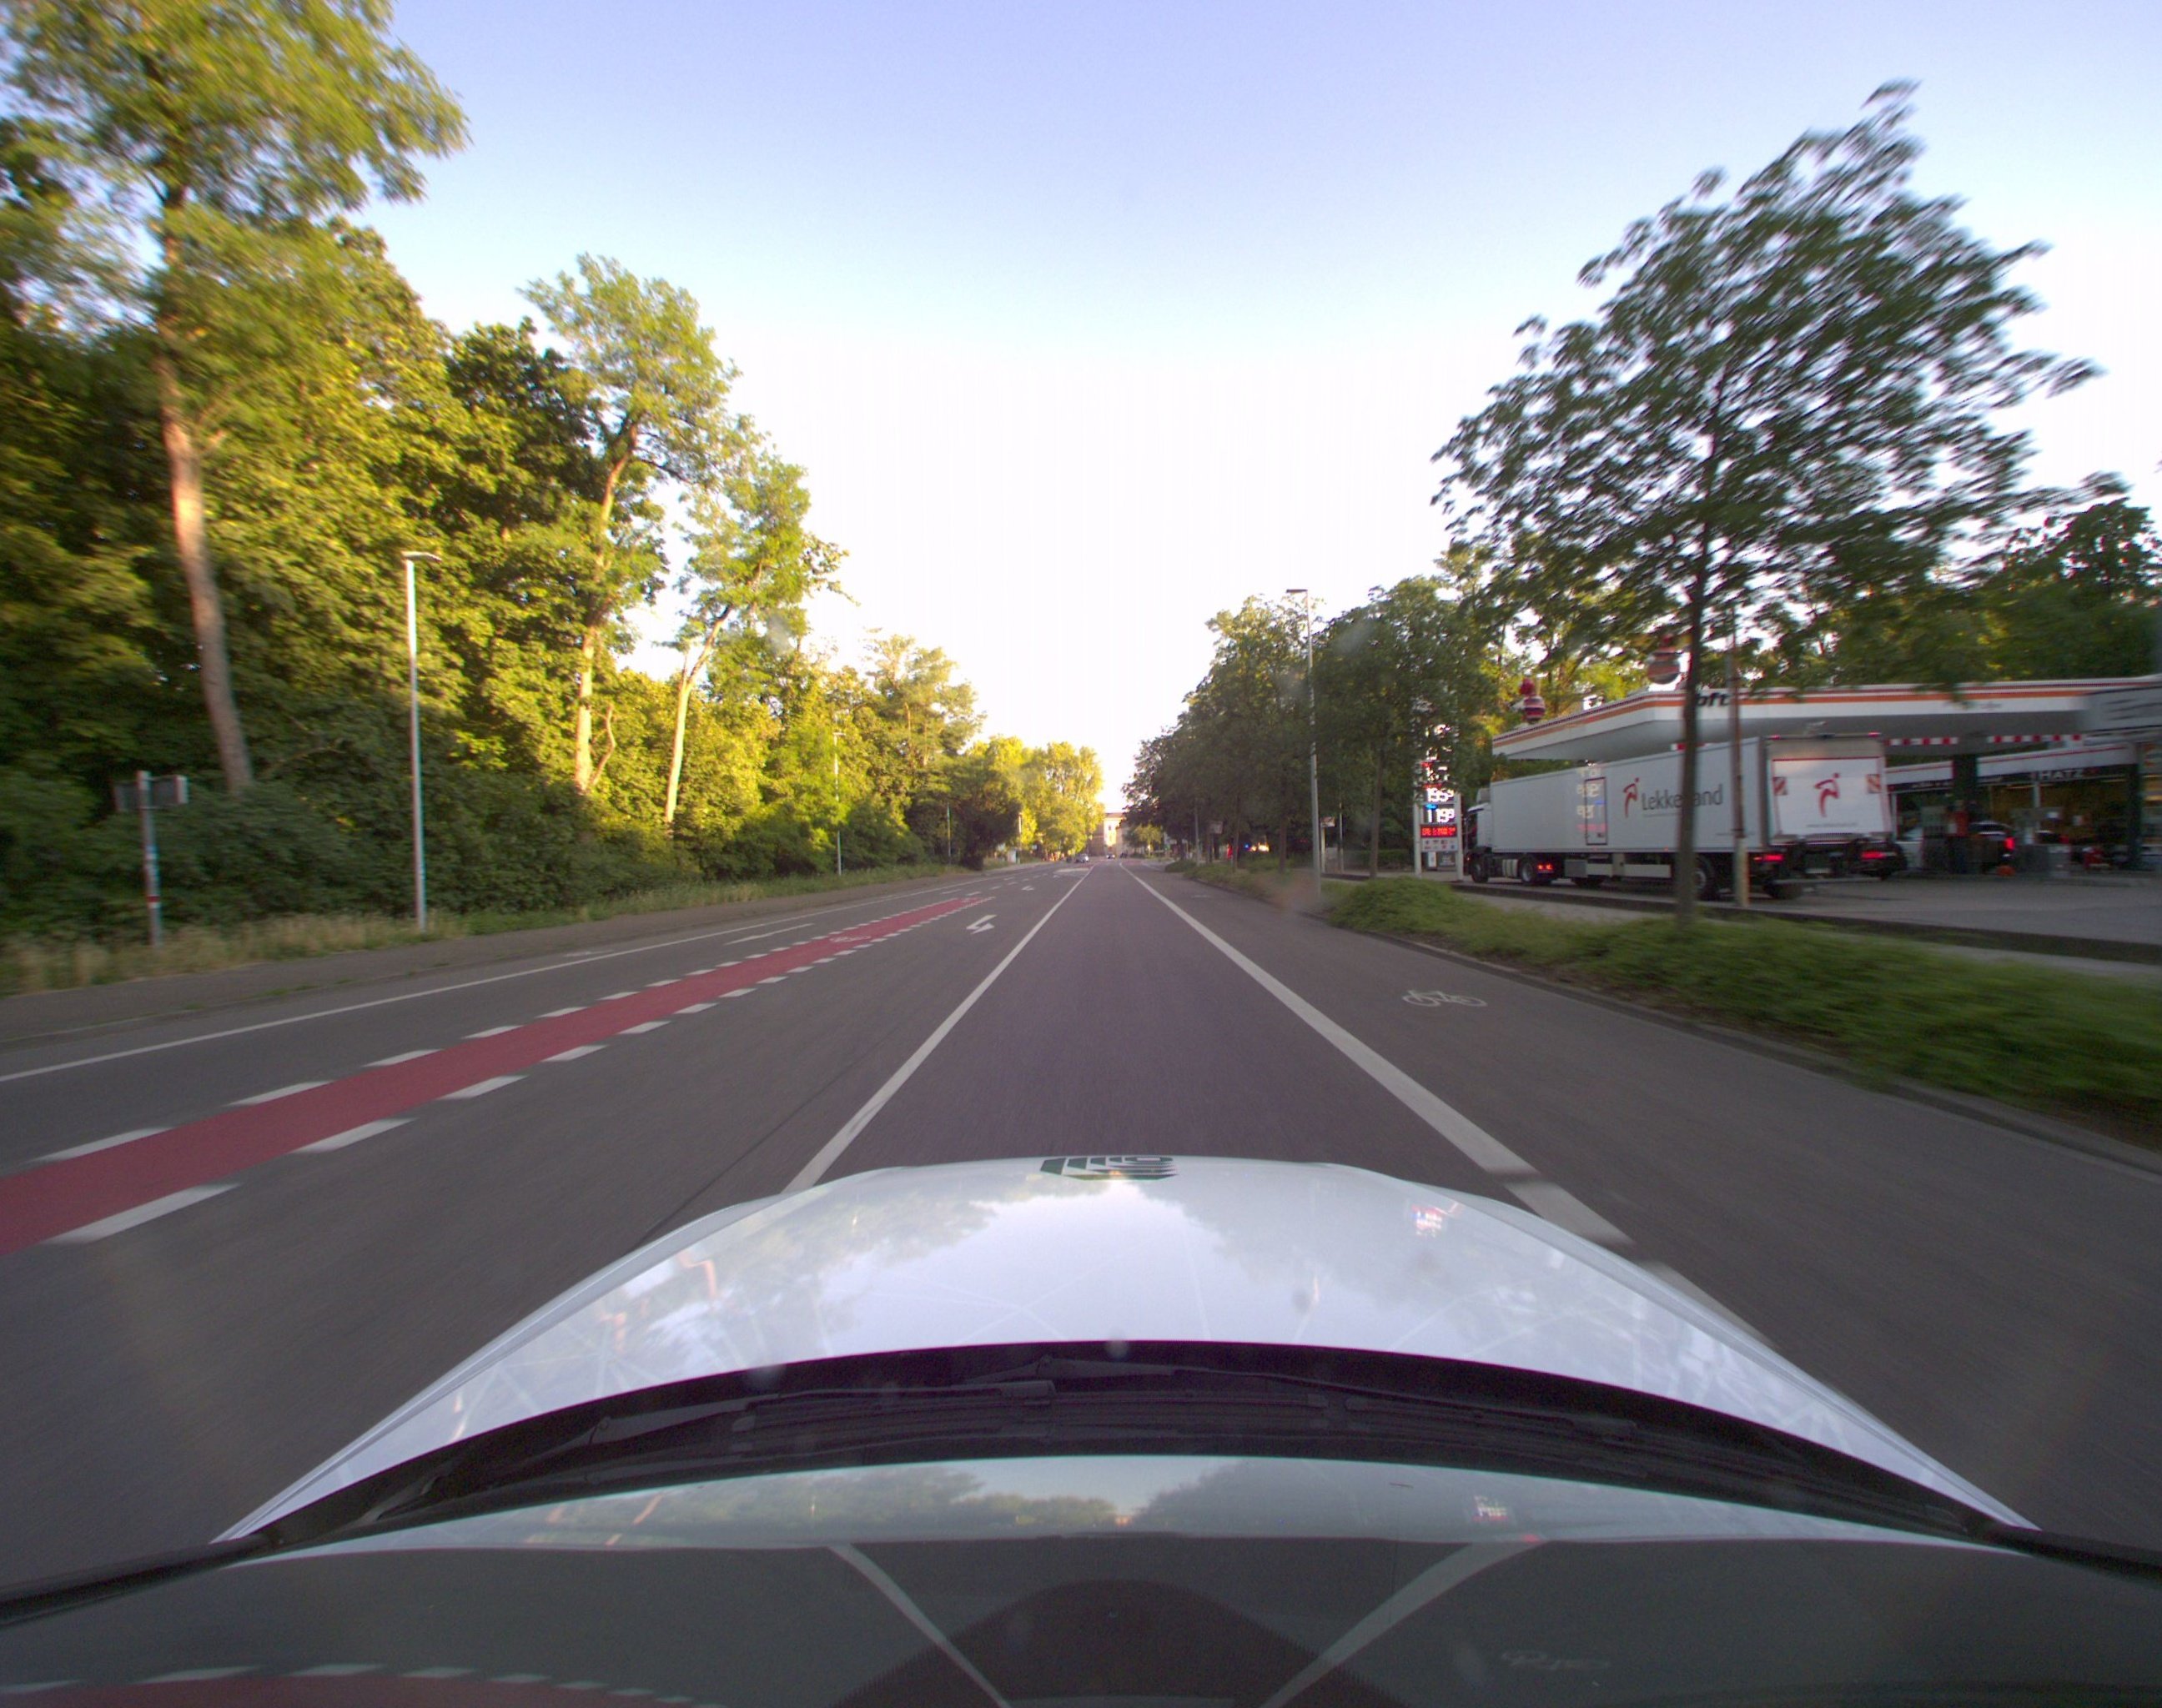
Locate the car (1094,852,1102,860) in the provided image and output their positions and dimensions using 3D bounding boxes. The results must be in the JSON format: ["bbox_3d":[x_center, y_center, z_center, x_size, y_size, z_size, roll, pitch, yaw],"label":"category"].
[{"bbox_3d":[3.416,0.411,160.023,1.487,1.486,3.493,-2,0,3],"label":"car"}]

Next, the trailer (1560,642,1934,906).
[{"bbox_3d":[16.325,-1.716,21.050,3.011,5.461,7.931,-1,0,-1],"label":"trailer"}]

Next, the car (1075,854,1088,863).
[{"bbox_3d":[0.164,0.721,134.540,1.789,1.453,4.132,-2,0,4],"label":"car"}]

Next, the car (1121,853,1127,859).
[{"bbox_3d":[11.876,0.544,225.866,1.487,1.486,3.493,-2,0,3],"label":"car"}]

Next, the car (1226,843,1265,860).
[{"bbox_3d":[21.131,-0.349,104.672,4.881,1.990,1.927,-2,0,9],"label":"car"}]

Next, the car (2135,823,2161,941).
[{"bbox_3d":[15.129,0.379,8.714,1.761,1.583,4.826,0,0,5],"label":"car"}]

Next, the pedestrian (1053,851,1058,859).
[{"bbox_3d":[-4.954,0.157,159.482,0.786,1.580,0.748,0,0,11],"label":"pedestrian"}]

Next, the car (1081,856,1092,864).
[{"bbox_3d":[0.984,1.044,152.972,1.789,1.453,4.132,-2,0,4],"label":"car"}]

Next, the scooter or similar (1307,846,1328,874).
[{"bbox_3d":[11.394,0.272,39.204,0.595,1.282,1.469,-2,0,2],"label":"scooter or similar"}]

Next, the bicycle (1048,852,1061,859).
[{"bbox_3d":[-5.192,0.274,159.545,2.446,1.195,0.759,-2,0,11],"label":"bicycle"}]

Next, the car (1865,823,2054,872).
[{"bbox_3d":[30.862,-0.211,28.862,1.978,1.583,4.628,0,0,5],"label":"car"}]

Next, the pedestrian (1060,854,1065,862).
[{"bbox_3d":[-3.766,0.813,166.689,0.786,1.580,0.748,0,0,11],"label":"pedestrian"}]

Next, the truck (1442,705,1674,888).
[{"bbox_3d":[16.185,-1.736,28.637,3.024,5.455,8.405,-1,0,-1],"label":"truck"}]

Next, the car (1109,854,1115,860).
[{"bbox_3d":[7.734,0.799,205.385,1.487,1.486,3.493,-2,0,3],"label":"car"}]

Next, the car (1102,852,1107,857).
[{"bbox_3d":[7.519,0.077,260.493,1.487,1.486,3.493,-2,0,3],"label":"car"}]

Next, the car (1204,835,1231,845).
[{"bbox_3d":[23.706,-2.365,141.388,4.433,1.590,1.720,-2,0,9],"label":"car"}]

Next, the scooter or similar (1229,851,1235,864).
[{"bbox_3d":[12.308,0.287,66.326,0.309,1.041,0.981,-2,0,2],"label":"scooter or similar"}]
